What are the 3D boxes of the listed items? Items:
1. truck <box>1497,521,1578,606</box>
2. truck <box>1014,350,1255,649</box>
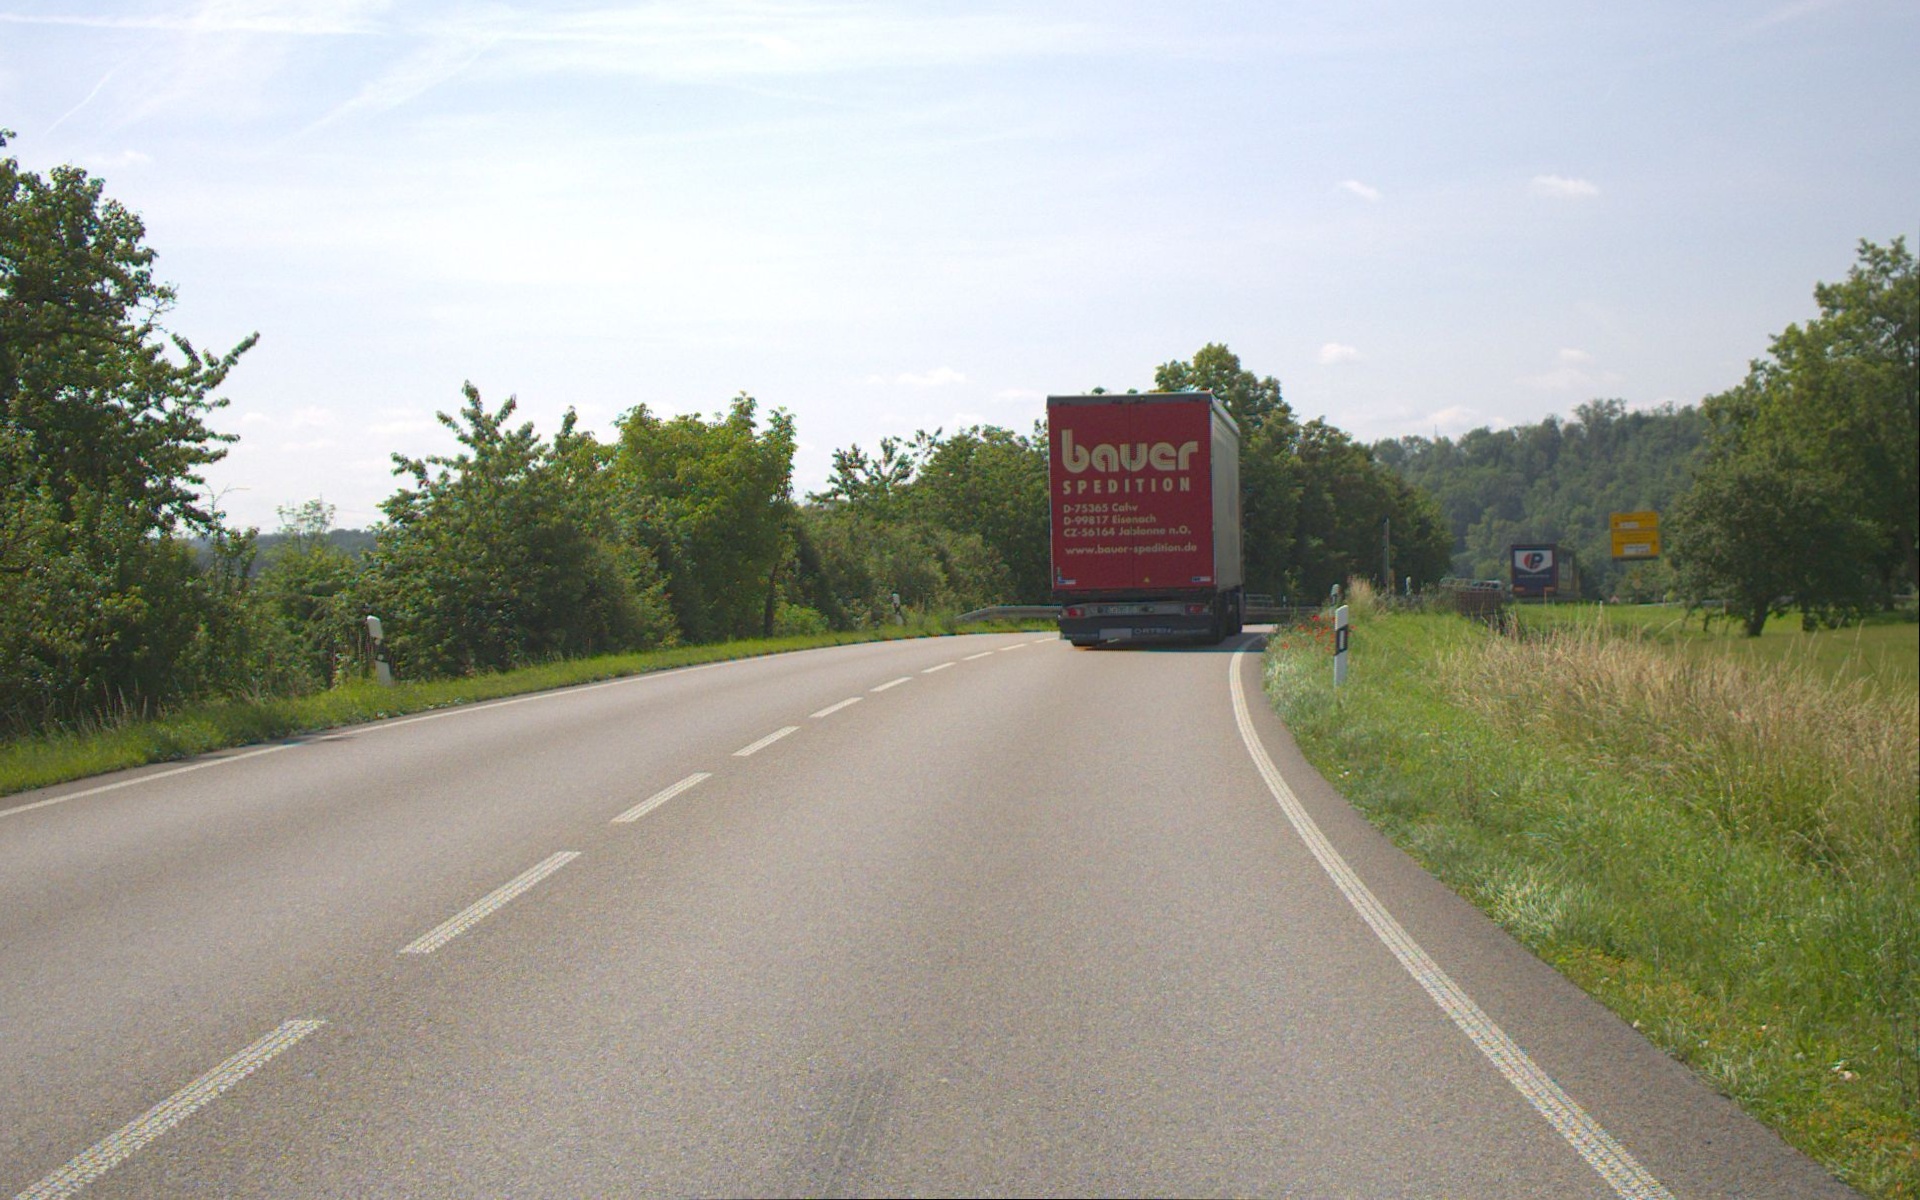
[{"bbox_3d":[34.116,-2.058,202.440,3.905,4.674,16.367,-2,-1,12],"label":"truck"},{"bbox_3d":[3.176,-1.632,58.500,3.113,4.490,12.164,-1,1,7],"label":"truck"}]
